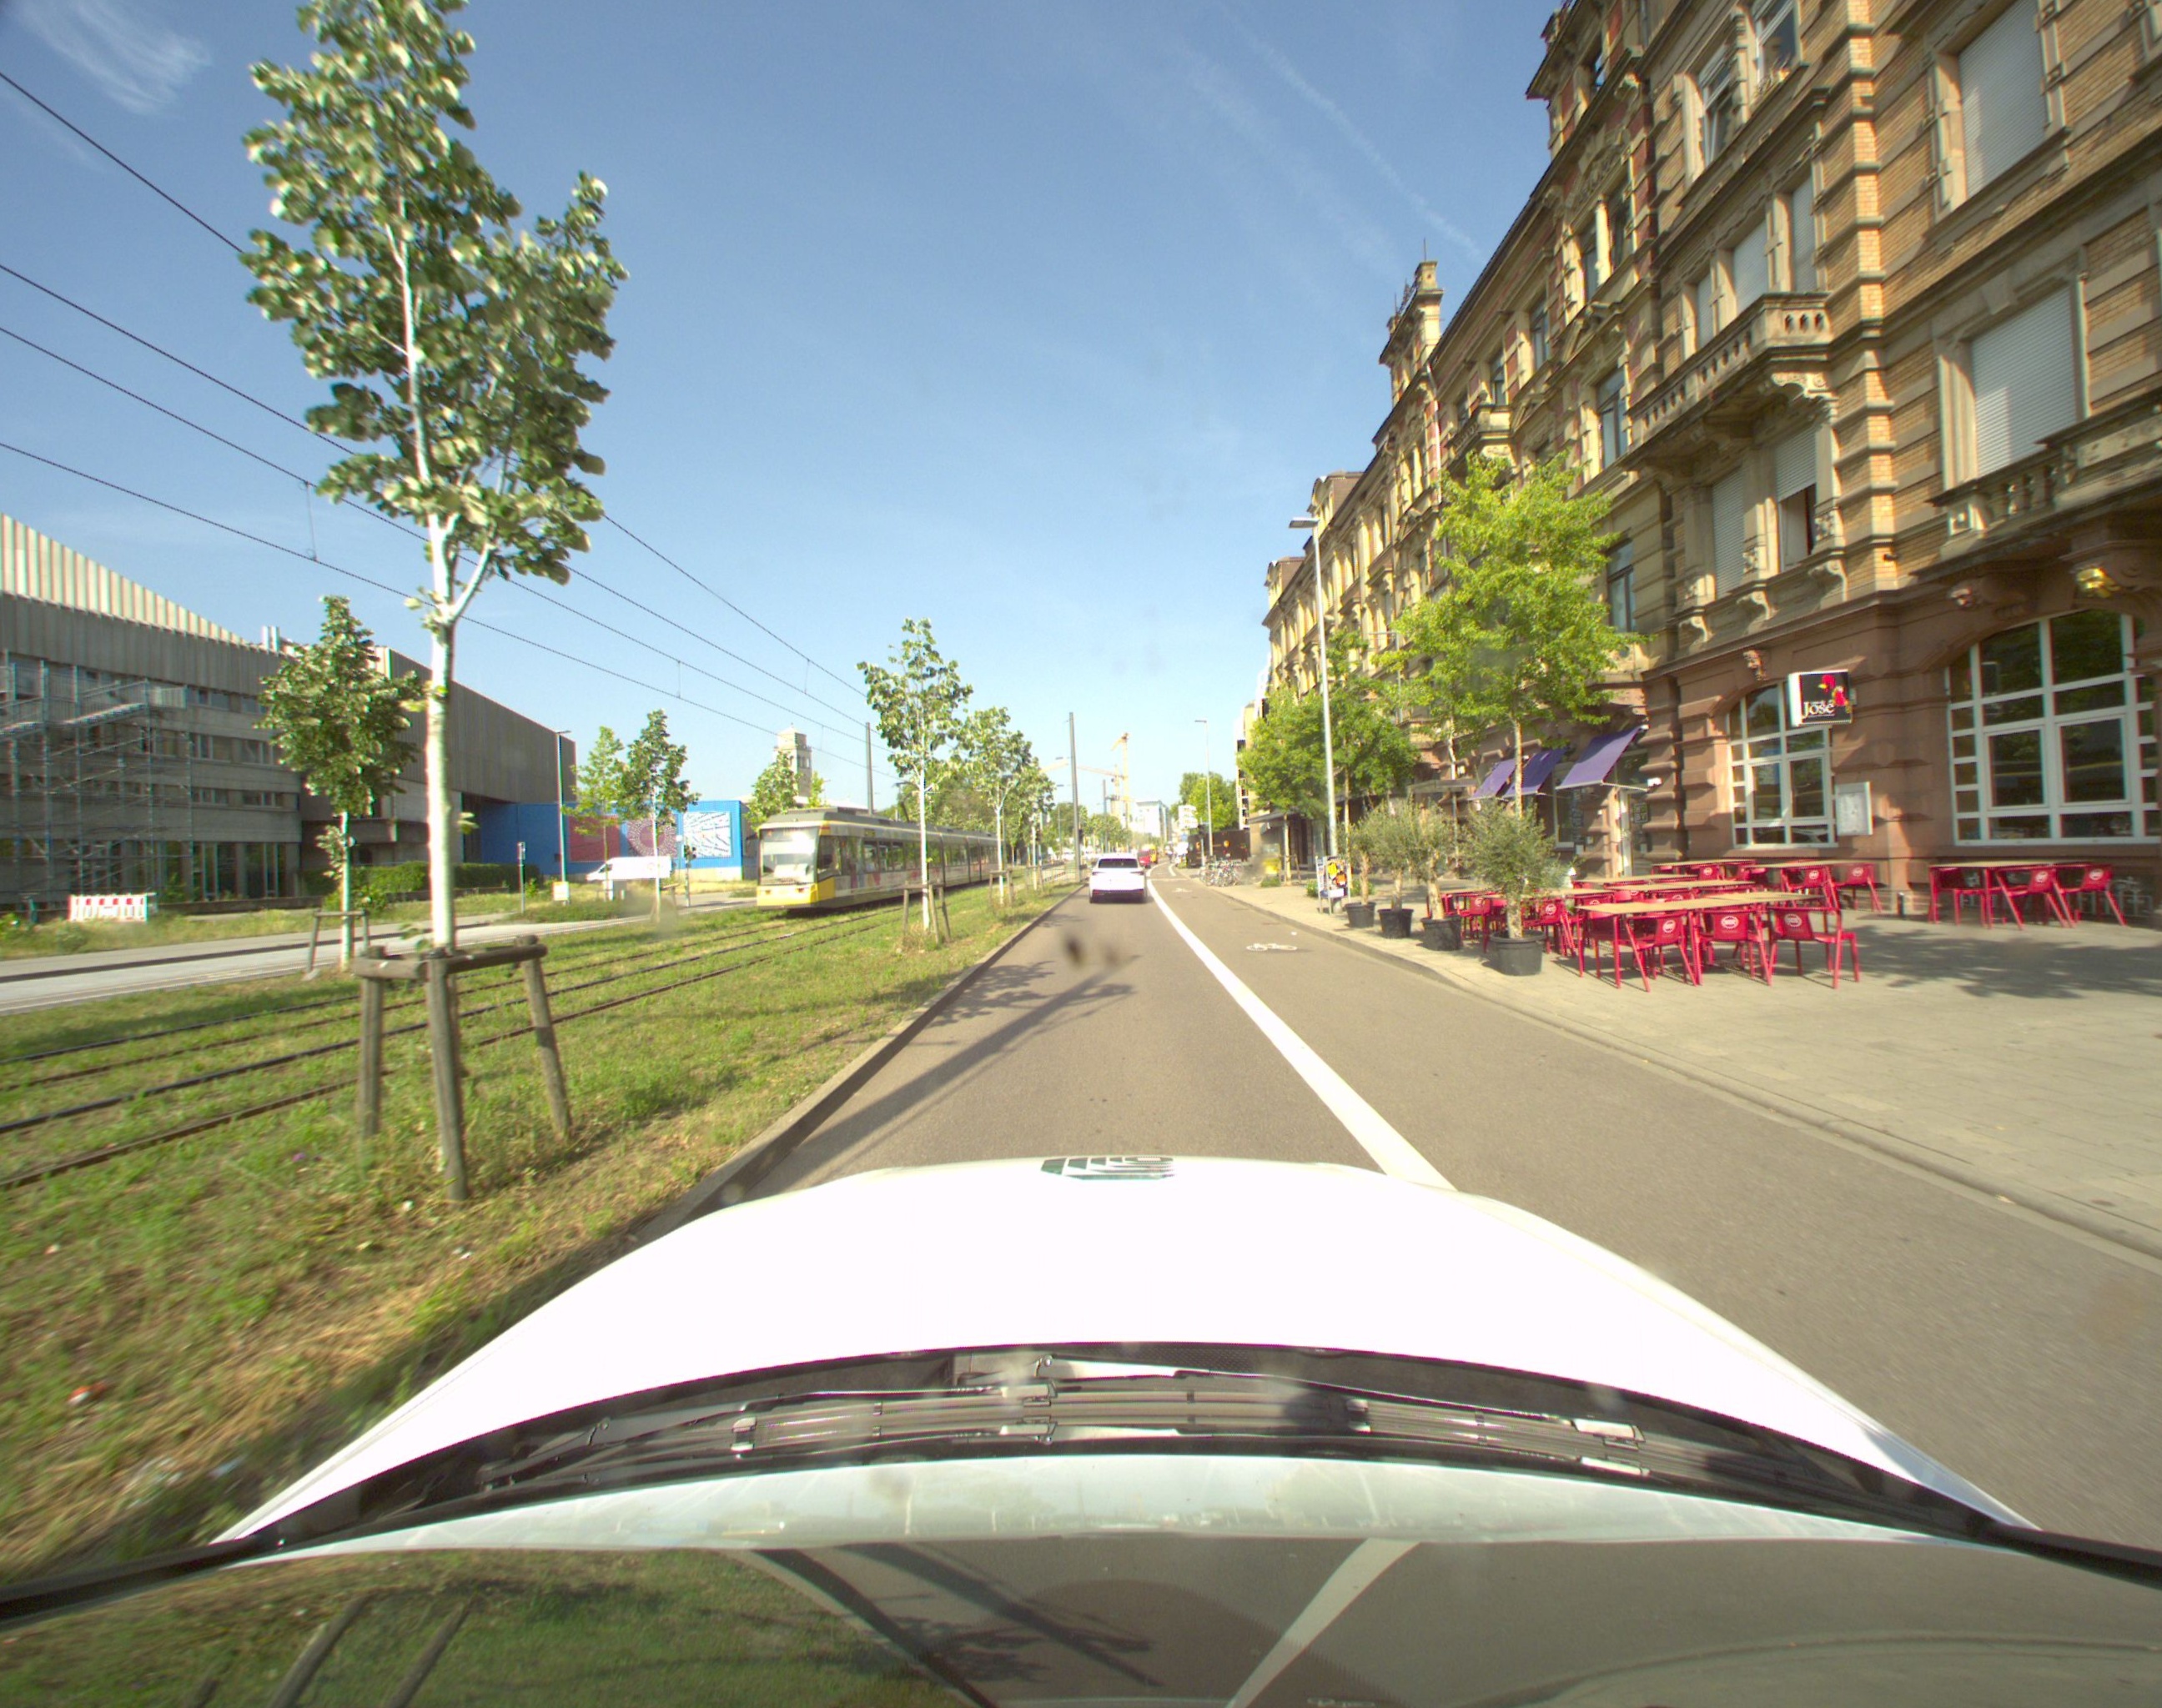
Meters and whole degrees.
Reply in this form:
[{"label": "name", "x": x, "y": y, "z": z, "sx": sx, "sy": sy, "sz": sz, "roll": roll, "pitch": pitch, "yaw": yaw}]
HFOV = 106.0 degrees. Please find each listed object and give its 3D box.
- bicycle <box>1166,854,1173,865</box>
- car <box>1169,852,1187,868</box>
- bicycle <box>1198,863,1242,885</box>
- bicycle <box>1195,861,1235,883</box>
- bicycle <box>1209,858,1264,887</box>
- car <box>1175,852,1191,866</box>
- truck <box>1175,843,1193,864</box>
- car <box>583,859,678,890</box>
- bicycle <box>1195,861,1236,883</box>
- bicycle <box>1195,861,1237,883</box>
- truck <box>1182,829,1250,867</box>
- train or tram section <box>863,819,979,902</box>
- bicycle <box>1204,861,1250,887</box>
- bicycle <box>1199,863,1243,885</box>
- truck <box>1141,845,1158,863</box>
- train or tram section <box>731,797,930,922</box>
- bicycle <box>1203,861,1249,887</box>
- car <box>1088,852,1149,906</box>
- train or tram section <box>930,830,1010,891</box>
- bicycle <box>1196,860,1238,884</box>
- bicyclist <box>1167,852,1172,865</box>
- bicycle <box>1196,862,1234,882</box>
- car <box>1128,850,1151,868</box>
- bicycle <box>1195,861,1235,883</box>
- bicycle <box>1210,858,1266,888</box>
[{"label": "bicycle", "x": 13.068, "y": 0.812, "z": 120.535, "sx": 0.778, "sy": 1.496, "sz": 2.802, "roll": -2, "pitch": 0, "yaw": 3}, {"label": "car", "x": 10.007, "y": 0.626, "z": 83.893, "sx": 1.640, "sy": 1.499, "sz": 3.535, "roll": -2, "pitch": 0, "yaw": 9}, {"label": "bicycle", "x": 6.541, "y": 0.938, "z": 38.315, "sx": 1.926, "sy": 0.874, "sz": 0.441, "roll": -4, "pitch": 0, "yaw": 2}, {"label": "bicycle", "x": 6.777, "y": 0.905, "z": 41.272, "sx": 1.925, "sy": 0.945, "sz": 0.429, "roll": -4, "pitch": 0, "yaw": 5}, {"label": "bicycle", "x": 6.735, "y": 0.797, "z": 35.353, "sx": 2.230, "sy": 1.104, "sz": 0.519, "roll": -4, "pitch": 0, "yaw": 2}, {"label": "car", "x": 11.040, "y": 0.555, "z": 88.059, "sx": 1.640, "sy": 1.385, "sz": 3.535, "roll": -2, "pitch": 0, "yaw": 9}, {"label": "truck", "x": 12.831, "y": -0.054, "z": 101.687, "sx": 1.985, "sy": 2.508, "sz": 4.004, "roll": -2, "pitch": 0, "yaw": 3}, {"label": "car", "x": -39.056, "y": 1.750, "z": 70.846, "sx": 6.897, "sy": 2.638, "sz": 2.498, "roll": 0, "pitch": -1, "yaw": -20}, {"label": "bicycle", "x": 6.676, "y": 0.896, "z": 40.448, "sx": 1.925, "sy": 0.945, "sz": 0.441, "roll": -4, "pitch": 0, "yaw": 5}, {"label": "bicycle", "x": 6.629, "y": 0.890, "z": 39.970, "sx": 1.925, "sy": 0.945, "sz": 0.441, "roll": -4, "pitch": 0, "yaw": 5}, {"label": "truck", "x": 11.384, "y": -0.469, "z": 69.170, "sx": 2.519, "sy": 3.011, "sz": 6.912, "roll": -2, "pitch": 0, "yaw": -20}, {"label": "train or tram section", "x": -8.000, "y": 0.359, "z": 43.102, "sx": 2.886, "sy": 3.586, "sz": 12.941, "roll": -3, "pitch": -1, "yaw": 3}, {"label": "bicycle", "x": 6.484, "y": 0.884, "z": 36.190, "sx": 1.926, "sy": 0.986, "sz": 0.471, "roll": -4, "pitch": 0, "yaw": 2}, {"label": "bicycle", "x": 6.491, "y": 0.933, "z": 37.872, "sx": 1.926, "sy": 0.874, "sz": 0.441, "roll": -4, "pitch": 0, "yaw": 2}, {"label": "truck", "x": 9.495, "y": -0.039, "z": 113.748, "sx": 2.203, "sy": 2.318, "sz": 5.895, "roll": -2, "pitch": 0, "yaw": 3}, {"label": "train or tram section", "x": -8.601, "y": 0.220, "z": 30.401, "sx": 2.887, "sy": 3.586, "sz": 12.485, "roll": -3, "pitch": -1, "yaw": 3}, {"label": "bicycle", "x": 6.524, "y": 0.890, "z": 36.669, "sx": 1.947, "sy": 0.986, "sz": 0.471, "roll": -4, "pitch": 0, "yaw": 2}, {"label": "car", "x": 1.212, "y": 0.767, "z": 27.055, "sx": 1.810, "sy": 1.590, "sz": 4.408, "roll": -2, "pitch": 0, "yaw": 1}, {"label": "train or tram section", "x": -7.293, "y": 0.457, "z": 55.619, "sx": 2.886, "sy": 3.586, "sz": 12.235, "roll": -3, "pitch": -1, "yaw": 3}, {"label": "bicycle", "x": 6.584, "y": 0.862, "z": 39.525, "sx": 1.925, "sy": 1.013, "sz": 0.441, "roll": -4, "pitch": 0, "yaw": 5}, {"label": "bicyclist", "x": 13.062, "y": 0.618, "z": 120.376, "sx": 0.706, "sy": 1.895, "sz": 0.844, "roll": -2, "pitch": 0, "yaw": 3}, {"label": "bicycle", "x": 6.958, "y": 0.923, "z": 42.381, "sx": 1.877, "sy": 0.863, "sz": 0.429, "roll": -4, "pitch": 0, "yaw": 5}, {"label": "car", "x": 5.856, "y": 0.476, "z": 80.818, "sx": 1.983, "sy": 1.684, "sz": 4.377, "roll": -2, "pitch": 0, "yaw": 6}, {"label": "bicycle", "x": 6.717, "y": 0.900, "z": 40.831, "sx": 1.925, "sy": 0.945, "sz": 0.429, "roll": -4, "pitch": 0, "yaw": 5}, {"label": "bicycle", "x": 6.693, "y": 0.791, "z": 34.798, "sx": 2.230, "sy": 1.104, "sz": 0.589, "roll": -4, "pitch": 0, "yaw": 2}]
